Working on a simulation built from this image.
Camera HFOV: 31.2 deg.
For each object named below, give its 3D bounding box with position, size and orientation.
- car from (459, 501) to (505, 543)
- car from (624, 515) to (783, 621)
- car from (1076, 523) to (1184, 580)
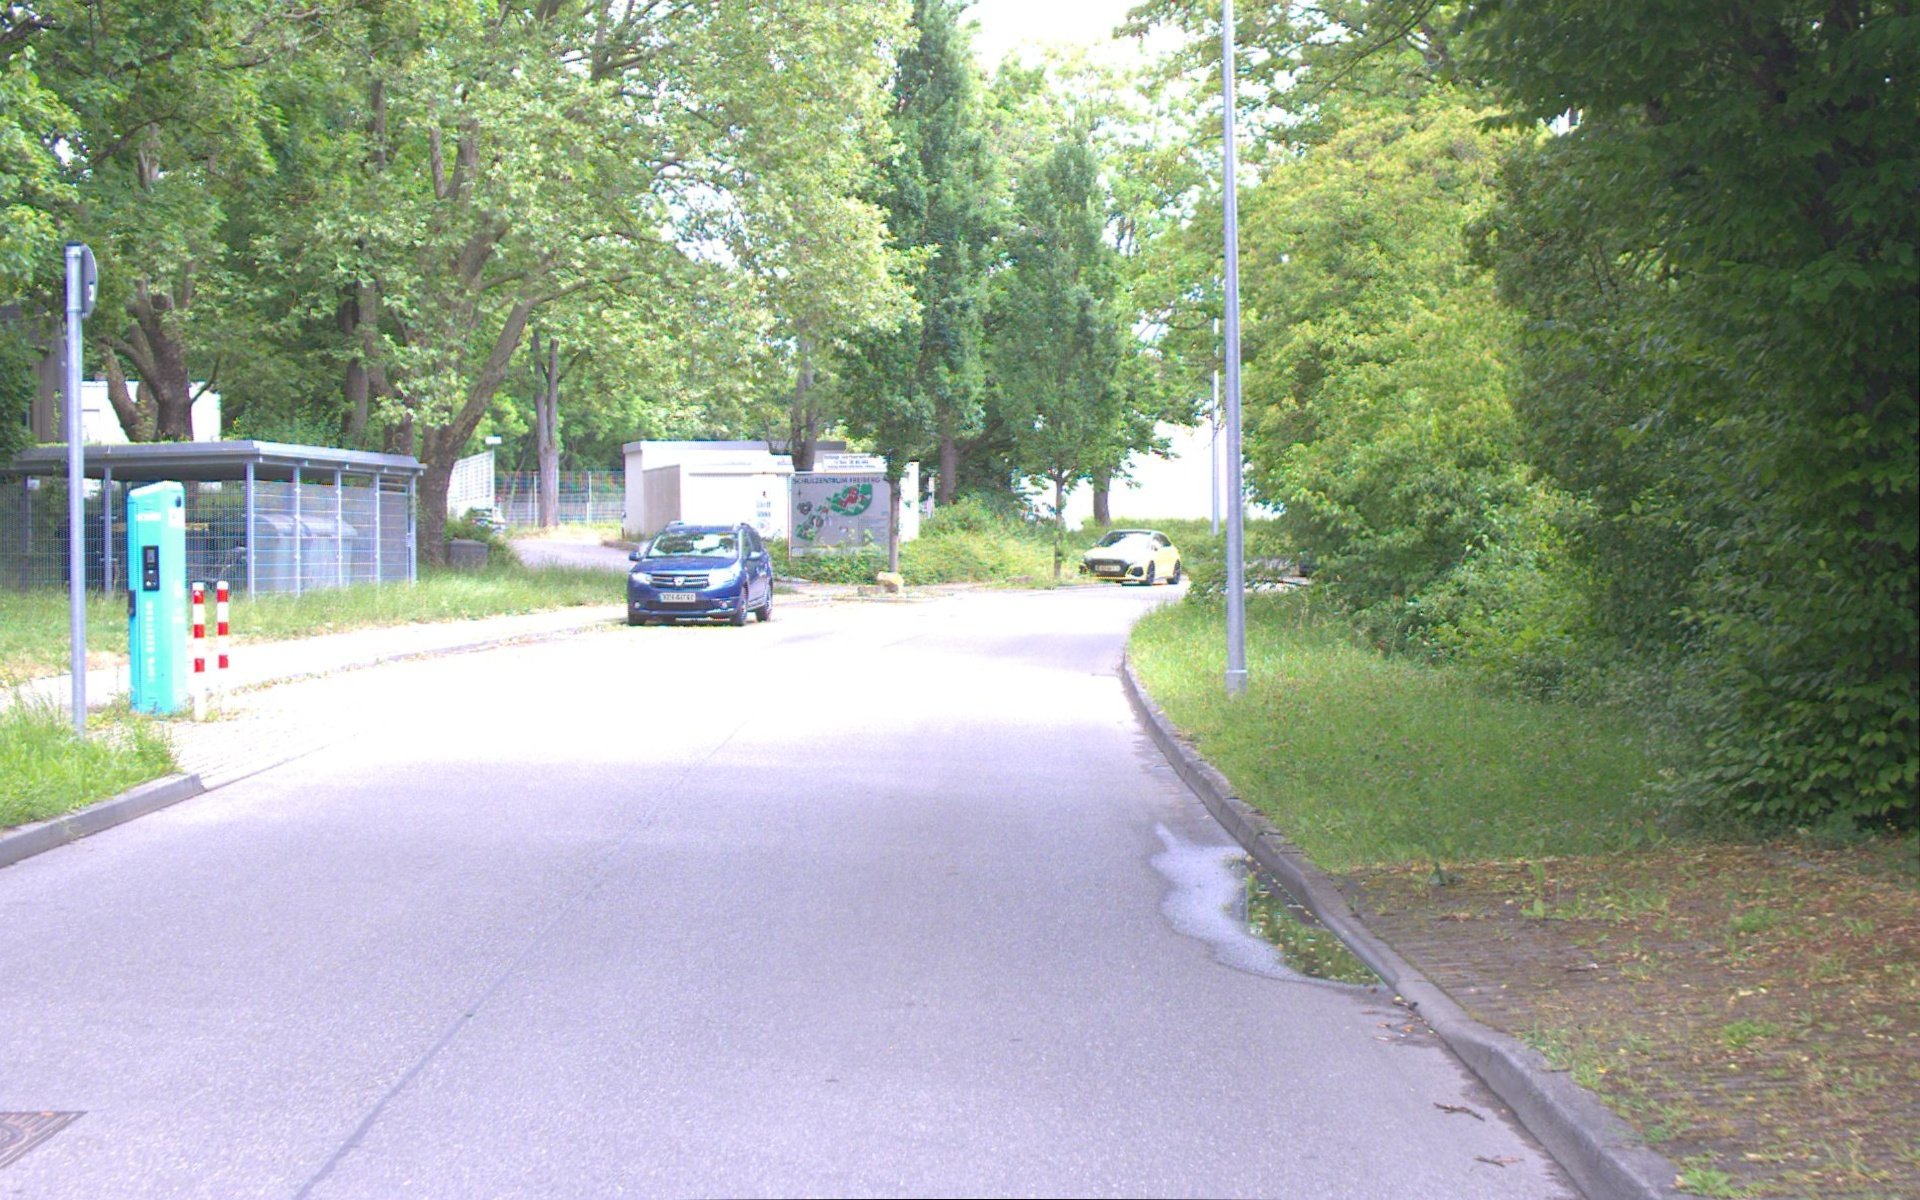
[{"bbox_3d":[-20.591,-3.369,148.299,1.872,1.740,4.001,-1,1,-7],"label":"car"},{"bbox_3d":[-3.806,-0.510,51.638,1.680,1.506,4.431,1,1,5],"label":"car"},{"bbox_3d":[4.419,-1.243,88.827,1.701,1.398,4.269,1,1,18],"label":"car"}]
